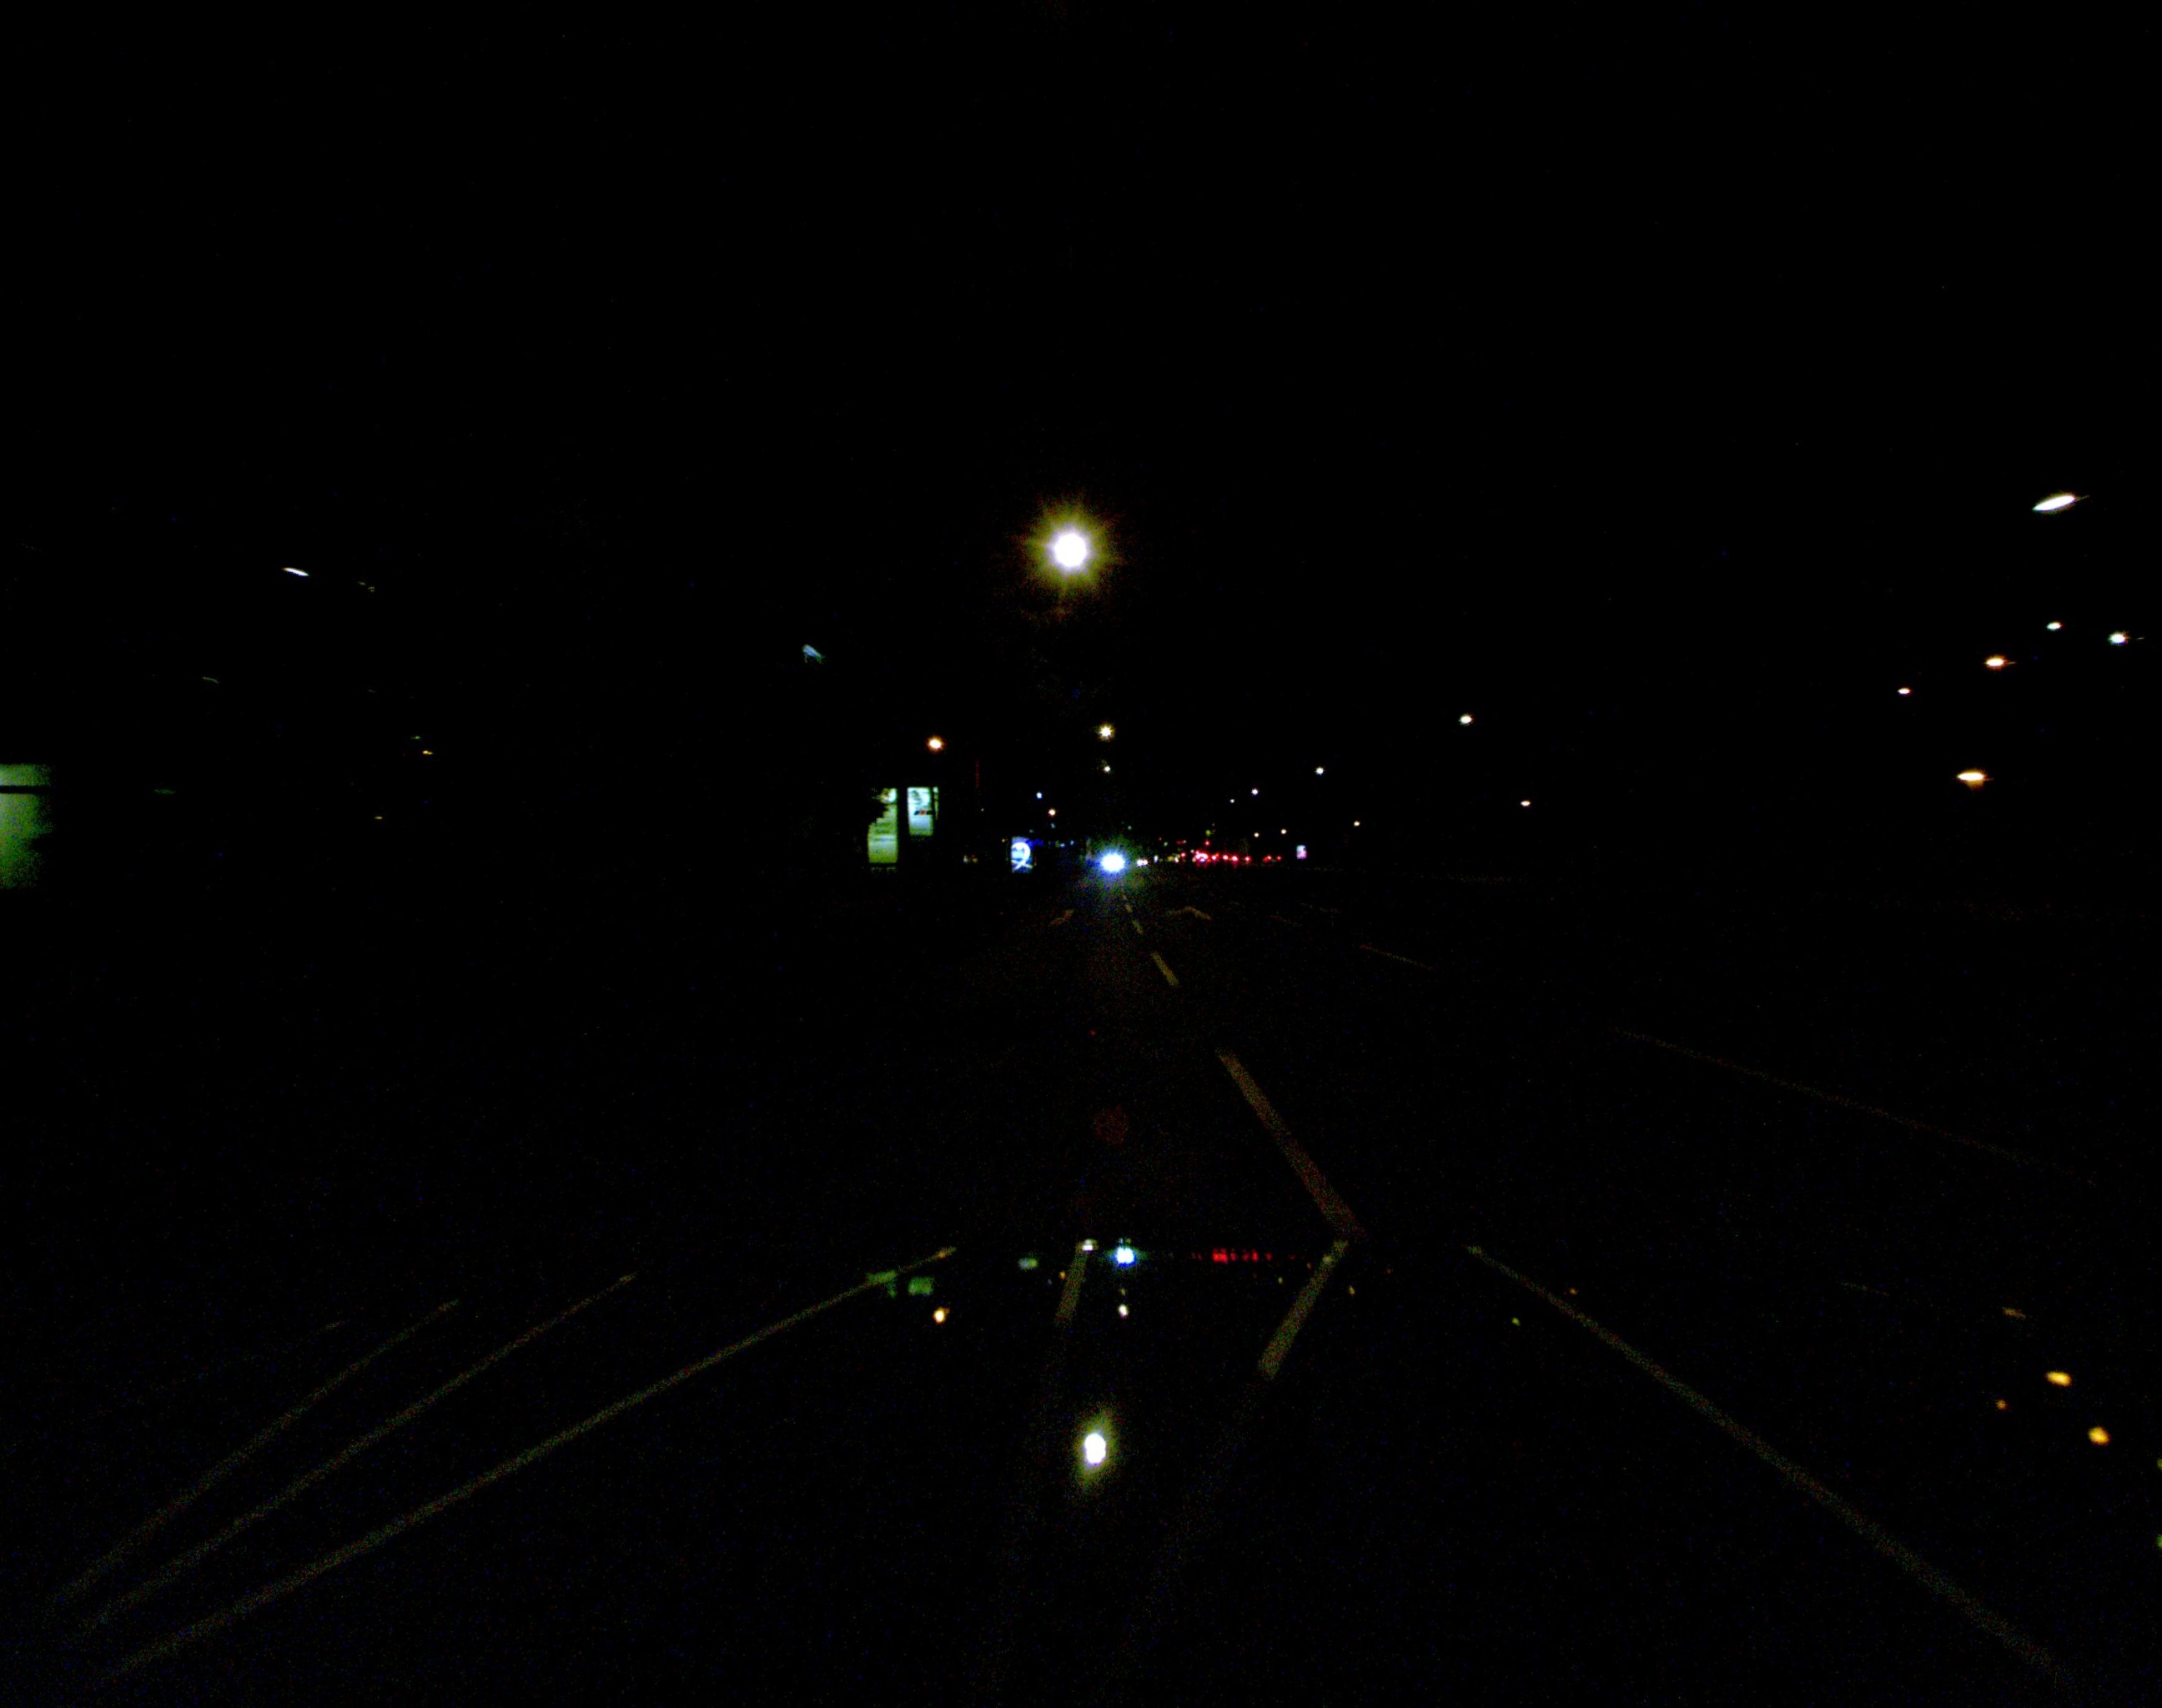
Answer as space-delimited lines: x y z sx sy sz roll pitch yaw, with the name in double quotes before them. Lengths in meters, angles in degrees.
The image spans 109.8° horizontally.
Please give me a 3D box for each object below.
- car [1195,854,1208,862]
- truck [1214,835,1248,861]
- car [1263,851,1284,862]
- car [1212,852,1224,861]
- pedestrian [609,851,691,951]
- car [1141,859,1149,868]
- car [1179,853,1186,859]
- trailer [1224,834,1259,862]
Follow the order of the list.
"car" 23.117 0.809 145.316 1.809 1.490 4.084 -1 1 0
"truck" 25.109 -1.057 127.554 3.690 3.932 10.421 -3 1 2
"car" 27.381 0.362 108.290 1.991 1.472 4.204 0 0 1
"car" 26.537 0.396 147.600 1.729 1.616 3.962 -3 1 3
"pedestrian" -7.578 0.801 13.401 0.854 1.697 0.957 0 1 1
"car" 16.294 2.325 192.223 1.793 2.002 4.002 -2 1 7
"car" 31.123 0.602 233.163 1.793 1.896 4.002 -2 1 7
"trailer" 24.890 -0.944 118.056 3.705 3.966 8.394 -3 1 1
